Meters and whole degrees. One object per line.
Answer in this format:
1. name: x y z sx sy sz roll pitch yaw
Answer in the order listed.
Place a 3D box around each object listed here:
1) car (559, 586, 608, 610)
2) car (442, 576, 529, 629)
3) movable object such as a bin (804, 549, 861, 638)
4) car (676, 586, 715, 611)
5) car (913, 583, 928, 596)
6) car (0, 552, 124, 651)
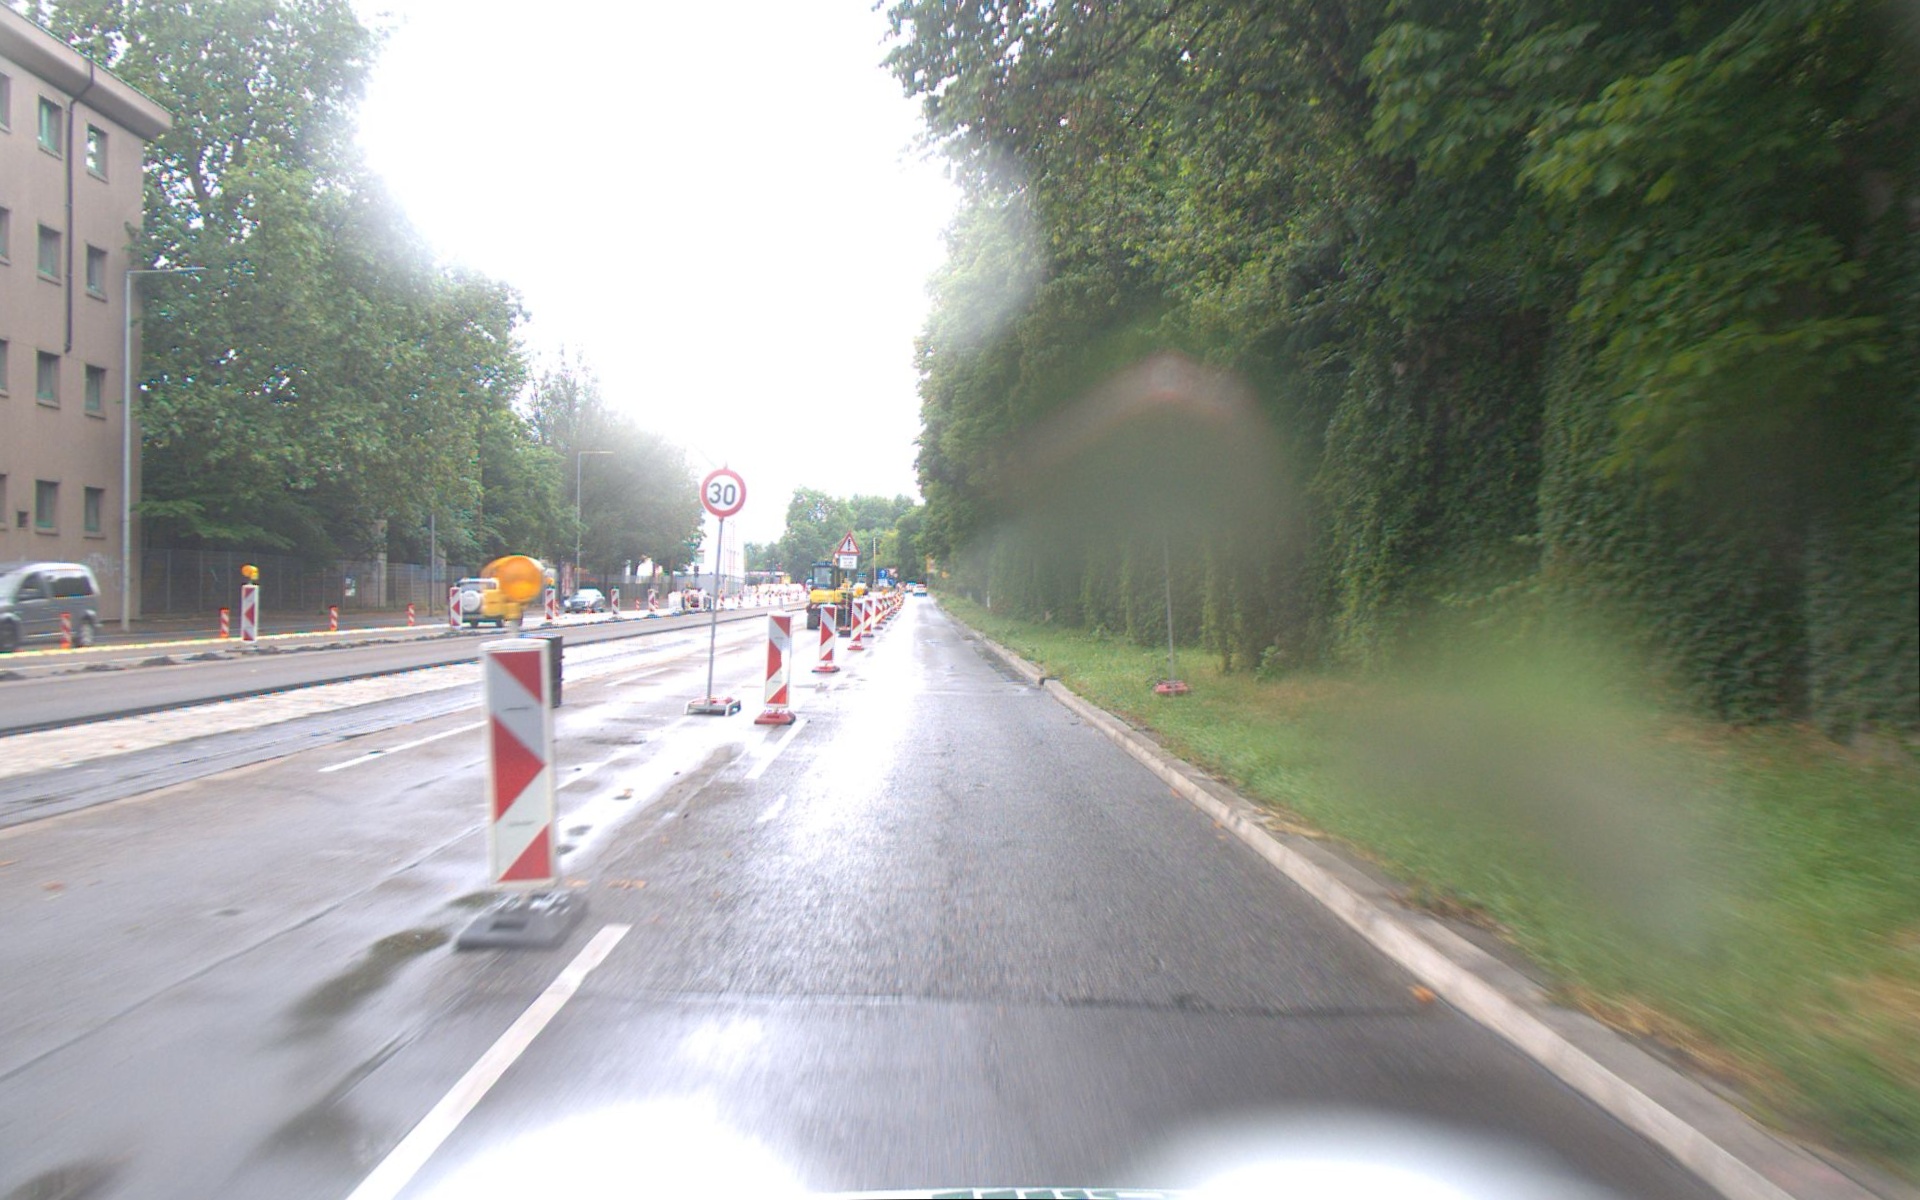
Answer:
1. car: -22.621 -0.102 99.485 1.953 1.371 4.789 1 0 -1
2. car: -15.816 0.084 55.314 1.817 1.677 3.999 1 0 -2
3. movable object such as a bin: -5.133 -0.247 67.311 1.953 3.426 5.980 1 0 -1
4. car: -17.051 -0.077 106.646 1.953 1.545 3.998 1 0 -2
5. car: -5.225 -1.408 218.478 1.953 1.702 3.999 1 0 -1
6. car: -18.514 0.013 32.136 1.952 1.811 4.954 1 0 0
